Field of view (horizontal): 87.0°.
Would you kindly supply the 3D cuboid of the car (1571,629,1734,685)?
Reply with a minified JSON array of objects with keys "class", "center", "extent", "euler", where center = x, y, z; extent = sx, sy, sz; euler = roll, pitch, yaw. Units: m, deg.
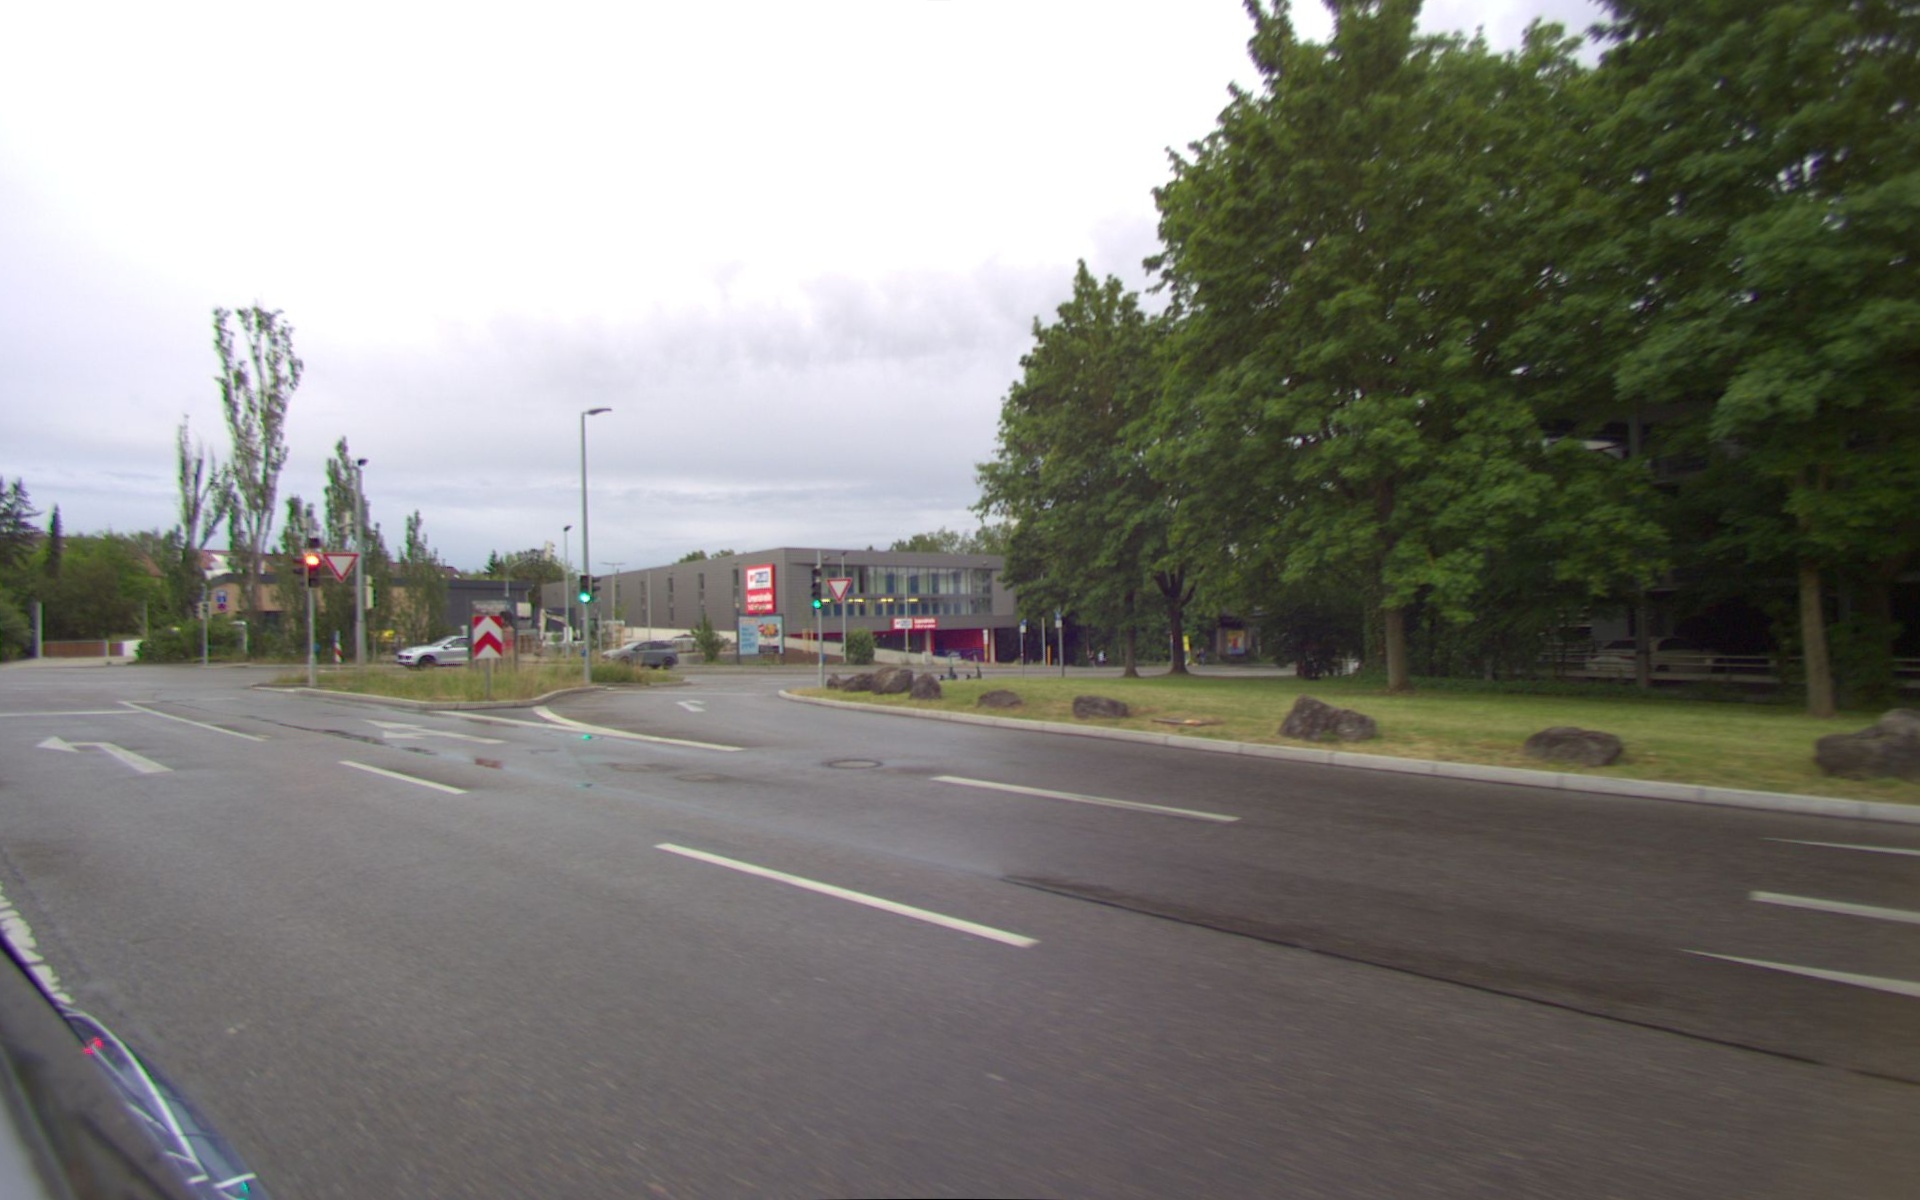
[{"class":"car","center":[19.951,1.598,29.190],"extent":[3.930,1.530,2.006],"euler":[1,-2,-21]}]

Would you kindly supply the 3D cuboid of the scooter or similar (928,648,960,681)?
[{"class":"scooter or similar","center":[-0.623,2.499,39.079],"extent":[0.548,1.269,1.341],"euler":[-3,-5,35]}]

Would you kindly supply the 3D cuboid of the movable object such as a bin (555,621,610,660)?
[{"class":"movable object such as a bin","center":[-26.198,2.854,70.266],"extent":[1.927,2.647,2.958],"euler":[-3,-5,40]}]

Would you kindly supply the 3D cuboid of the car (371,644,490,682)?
[{"class":"car","center":[-24.631,2.943,47.166],"extent":[4.554,1.716,1.842],"euler":[4,-5,-41]}]

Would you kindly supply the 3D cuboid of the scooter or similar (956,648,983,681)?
[{"class":"scooter or similar","center":[0.378,2.549,40.125],"extent":[0.516,1.269,1.211],"euler":[-3,-5,35]}]

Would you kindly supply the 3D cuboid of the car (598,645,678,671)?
[{"class":"car","center":[-18.464,3.301,58.121],"extent":[3.980,1.415,1.842],"euler":[2,-4,-43]}]
